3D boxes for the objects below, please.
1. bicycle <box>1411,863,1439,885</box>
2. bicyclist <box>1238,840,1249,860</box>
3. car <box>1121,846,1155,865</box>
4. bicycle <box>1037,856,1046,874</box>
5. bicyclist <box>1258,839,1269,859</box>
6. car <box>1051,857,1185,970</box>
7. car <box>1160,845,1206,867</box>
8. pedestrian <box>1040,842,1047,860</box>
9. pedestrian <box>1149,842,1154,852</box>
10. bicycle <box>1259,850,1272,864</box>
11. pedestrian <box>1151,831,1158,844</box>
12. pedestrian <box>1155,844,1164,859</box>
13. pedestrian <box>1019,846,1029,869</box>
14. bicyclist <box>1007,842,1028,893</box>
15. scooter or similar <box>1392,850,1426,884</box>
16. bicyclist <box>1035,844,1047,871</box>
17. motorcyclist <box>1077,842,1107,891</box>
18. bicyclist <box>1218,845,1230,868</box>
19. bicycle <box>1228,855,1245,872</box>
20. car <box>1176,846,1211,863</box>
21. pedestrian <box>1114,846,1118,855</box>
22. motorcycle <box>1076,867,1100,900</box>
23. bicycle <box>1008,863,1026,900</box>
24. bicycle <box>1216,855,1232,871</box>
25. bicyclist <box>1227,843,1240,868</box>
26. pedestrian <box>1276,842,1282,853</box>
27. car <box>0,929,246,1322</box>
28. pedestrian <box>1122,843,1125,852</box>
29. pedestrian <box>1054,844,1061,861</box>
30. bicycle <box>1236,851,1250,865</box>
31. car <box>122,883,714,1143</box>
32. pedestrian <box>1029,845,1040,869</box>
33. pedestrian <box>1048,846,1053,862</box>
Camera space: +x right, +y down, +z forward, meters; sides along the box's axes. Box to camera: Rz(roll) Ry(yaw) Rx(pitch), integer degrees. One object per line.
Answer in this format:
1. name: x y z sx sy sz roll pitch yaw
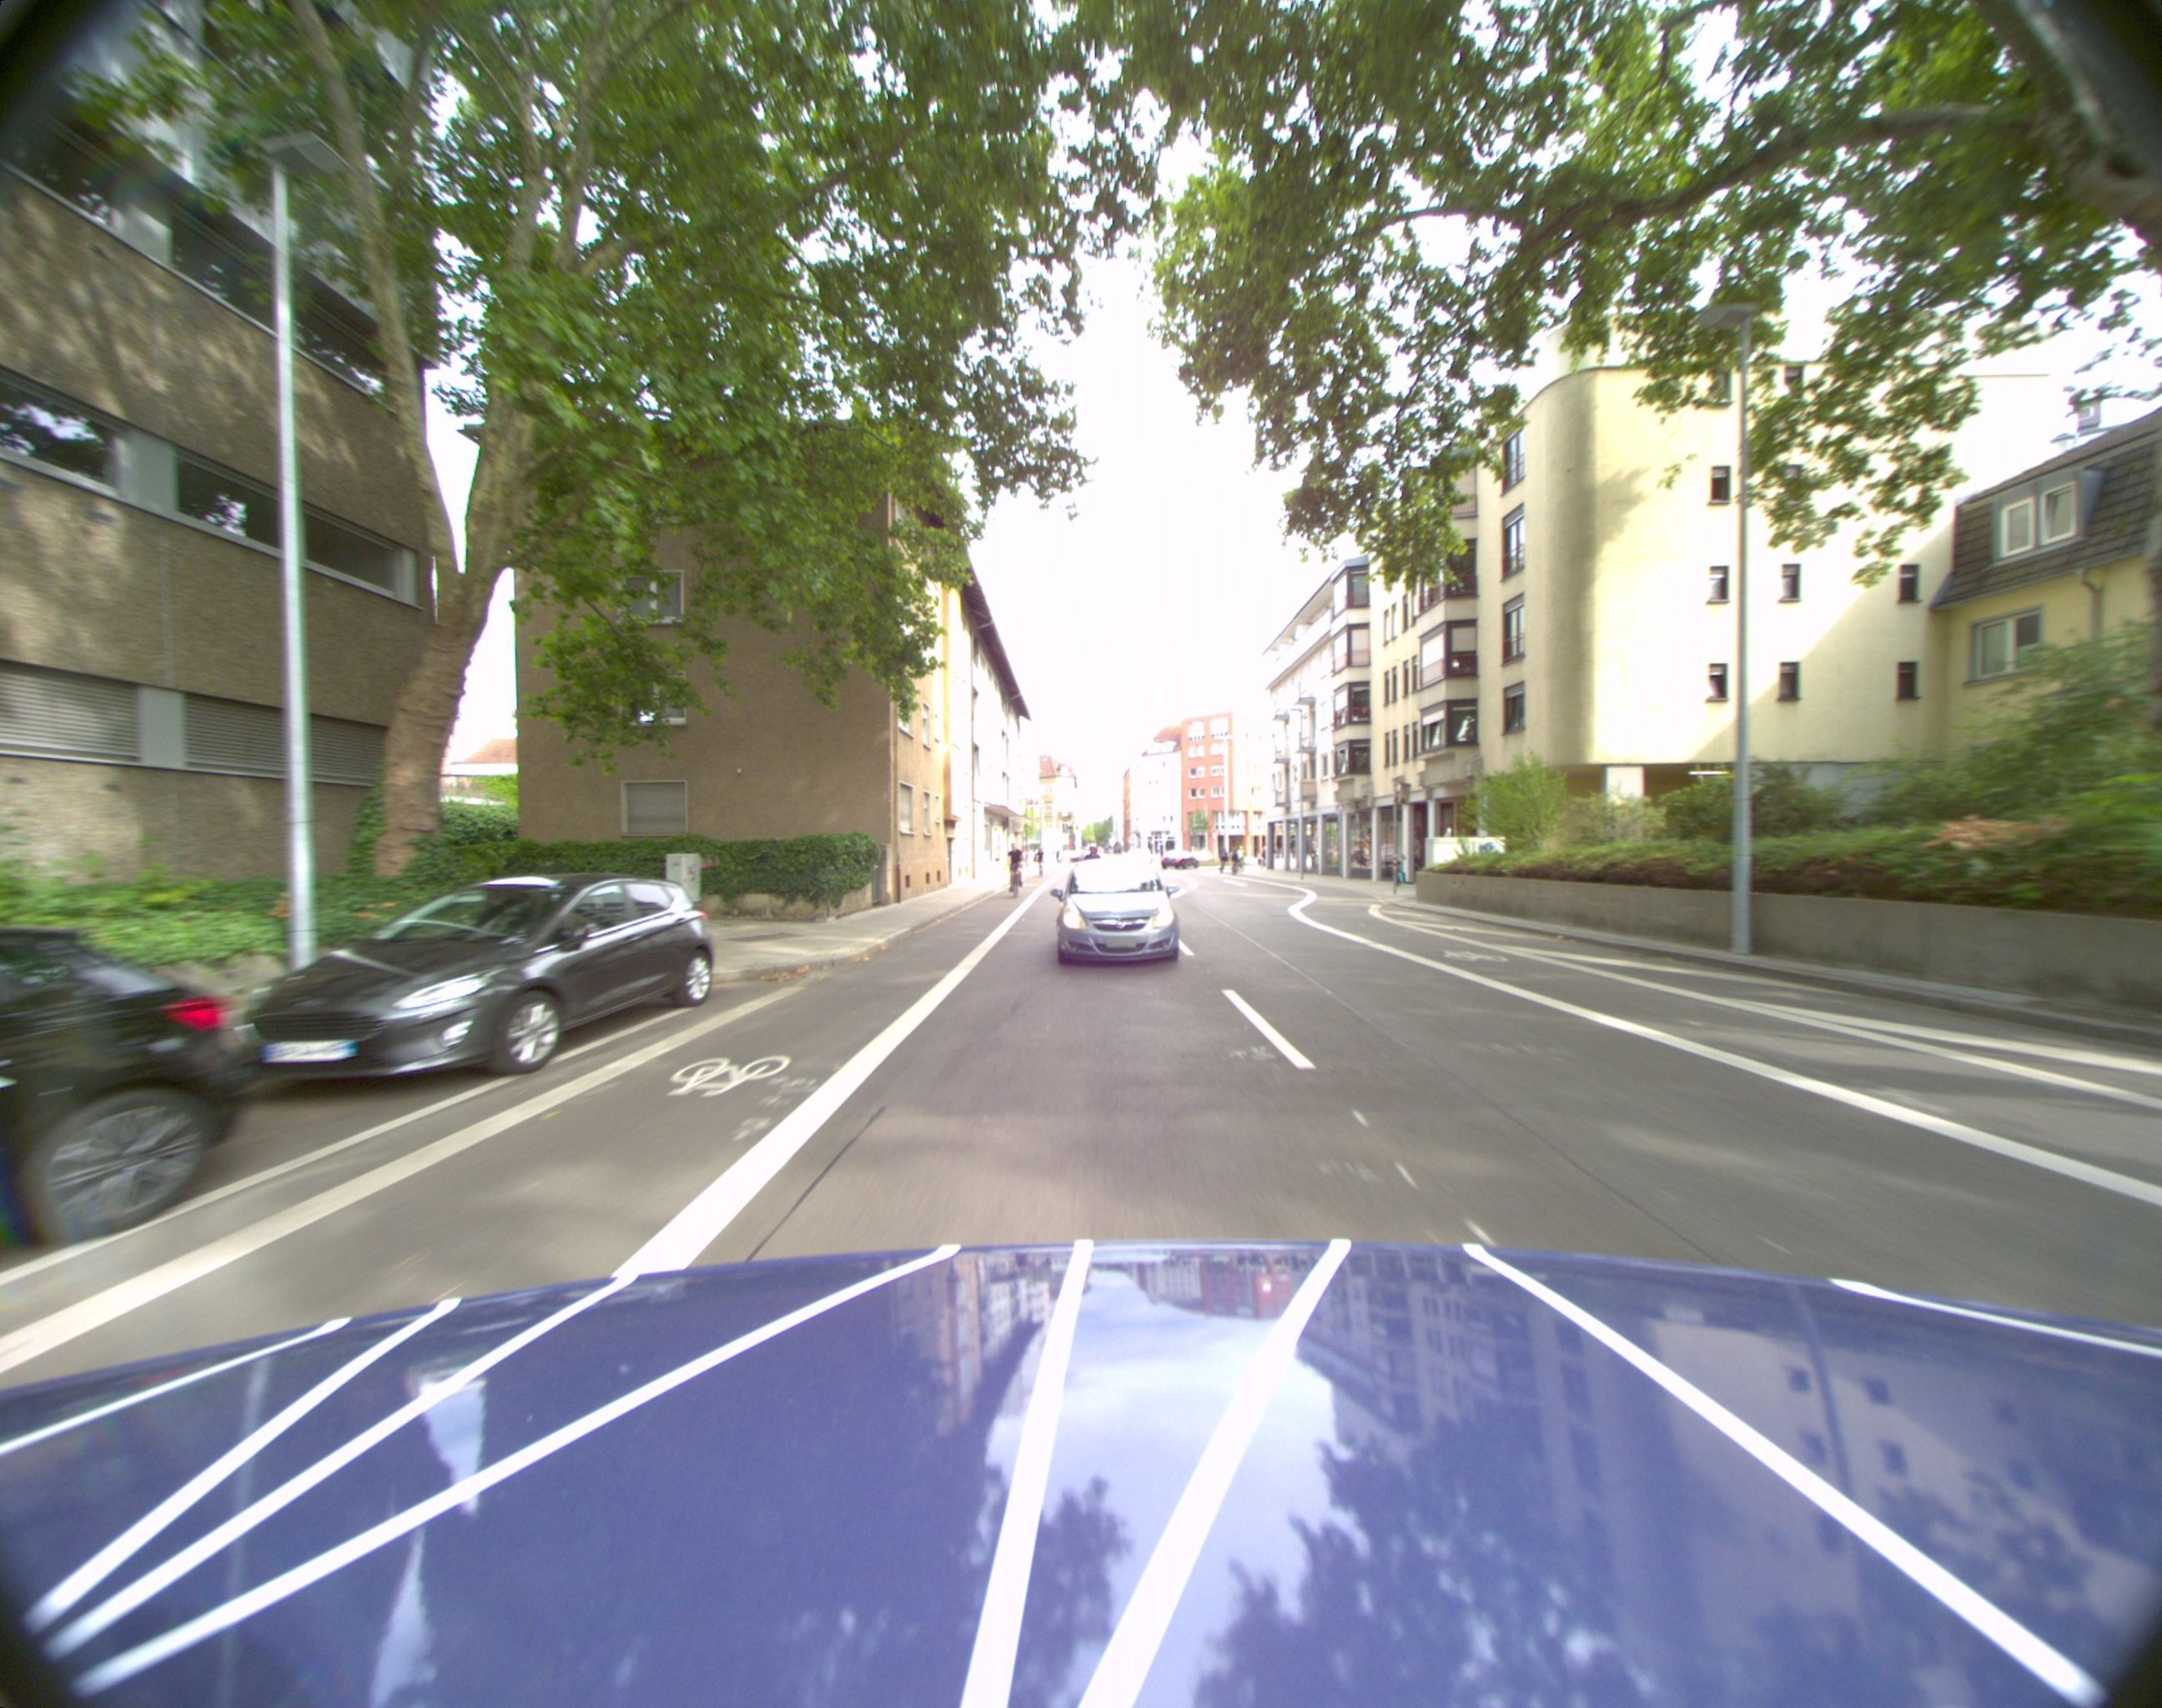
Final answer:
1. bicycle: 13.832 0.788 30.584 0.430 0.816 1.618 -1 1 1
2. bicyclist: 12.144 -0.293 56.792 0.658 1.516 0.841 -2 0 5
3. car: 5.238 0.119 69.440 1.954 1.592 4.005 0 1 21
4. bicycle: -2.331 0.639 44.425 0.489 0.994 1.747 -2 0 -4
5. bicyclist: 14.470 -0.397 60.121 0.658 1.517 1.002 -2 2 5
6. car: 0.562 0.774 11.804 1.723 1.394 4.000 0 1 2
7. car: 7.984 0.194 59.284 1.811 1.398 4.620 -3 -5 31
8. pedestrian: -3.836 -0.313 78.142 0.673 1.892 0.590 2 1 1
9. pedestrian: 11.405 -1.135 122.535 0.593 1.502 0.629 -1 0 -7
10. bicycle: 14.650 0.253 60.401 0.739 1.001 1.909 -1 3 5
11. pedestrian: 9.971 -2.253 102.967 0.567 1.813 0.697 1 1 45
12. pedestrian: 10.346 -0.291 99.930 0.719 1.960 1.016 2 1 28
13. pedestrian: -4.157 0.257 55.592 0.606 1.659 0.944 -1 1 -1
14. bicyclist: -2.158 0.457 25.863 0.560 1.699 0.863 0 1 3
15. scooter or similar: 12.416 0.482 28.777 0.287 1.257 1.173 -1 1 -36
16. bicyclist: -2.338 0.208 44.519 0.613 1.594 0.847 -2 0 -5
17. motorcyclist: 0.354 0.389 23.832 0.871 1.508 1.044 0 1 6
18. bicyclist: 9.641 0.143 51.381 0.658 1.516 0.857 -2 0 5
19. bicycle: 9.618 0.584 47.043 0.739 1.001 2.196 -2 -1 4
20. car: 13.106 -0.001 88.237 4.008 1.868 1.994 -2 1 -44
21. pedestrian: 6.891 -0.691 149.019 0.590 1.712 0.520 0 1 9
22. motorcycle: 0.251 0.933 24.516 0.570 0.962 2.015 0 1 7
23. bicycle: -2.144 0.902 25.638 0.407 1.116 2.016 -2 2 0
24. bicycle: 9.685 0.594 51.506 0.739 1.001 1.977 -2 -1 4
25. bicyclist: 9.507 0.093 47.391 0.658 1.516 1.077 -2 0 5
26. pedestrian: 30.971 -1.011 118.925 0.601 1.677 0.639 -1 1 -45
27. car: -5.013 1.121 1.752 1.661 1.414 3.947 -3 0 2
28. pedestrian: 8.364 -1.208 148.917 0.540 1.713 0.520 0 2 11
29. pedestrian: -2.658 -0.151 85.215 0.657 1.842 0.971 2 2 4
30. bicycle: 12.189 0.281 57.224 0.739 1.001 2.253 -2 -1 5
31. car: -4.927 1.036 6.514 1.662 1.413 3.866 0 0 0
32. pedestrian: -3.390 0.200 55.604 0.753 1.740 0.859 -1 1 0
33. pedestrian: -3.119 -0.026 78.127 0.473 1.663 0.590 2 1 1
